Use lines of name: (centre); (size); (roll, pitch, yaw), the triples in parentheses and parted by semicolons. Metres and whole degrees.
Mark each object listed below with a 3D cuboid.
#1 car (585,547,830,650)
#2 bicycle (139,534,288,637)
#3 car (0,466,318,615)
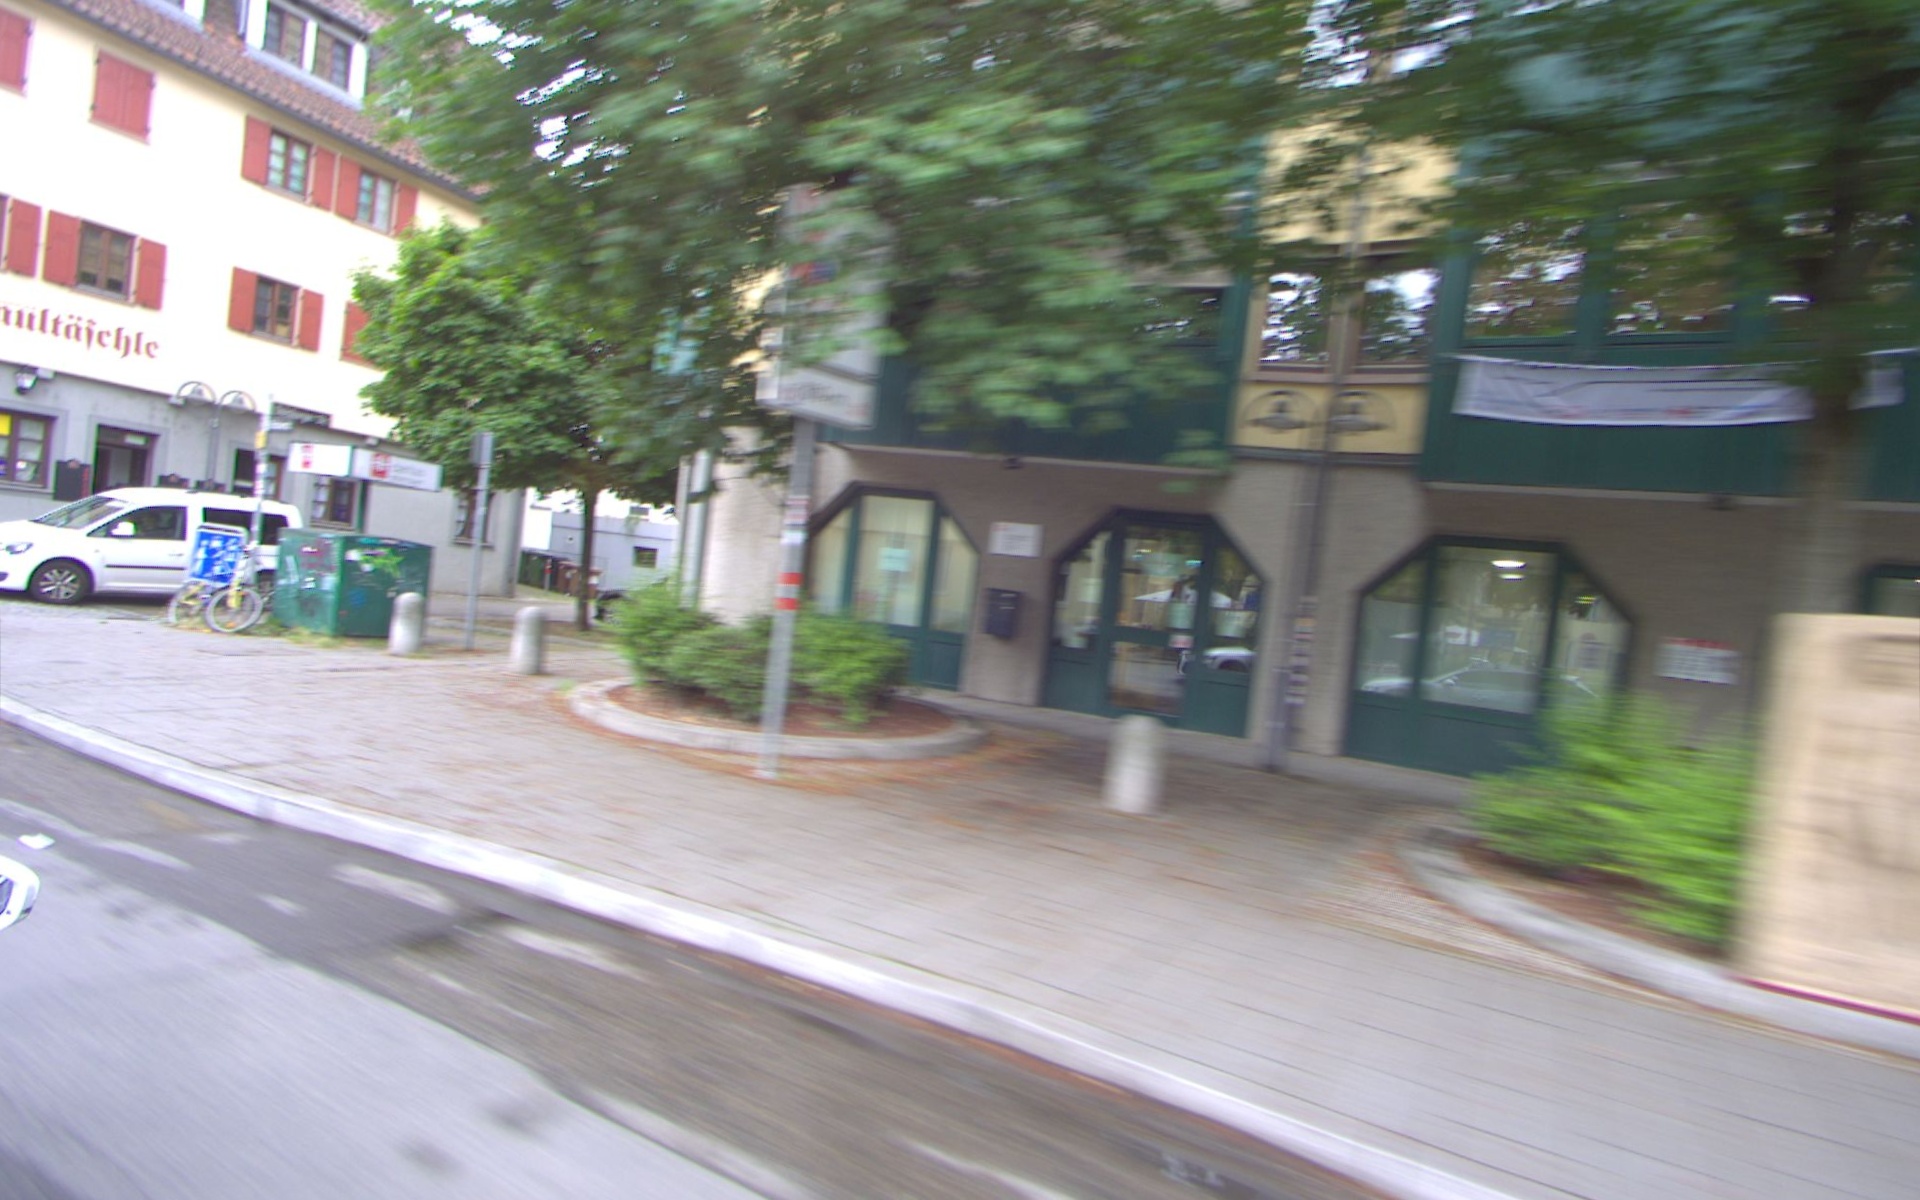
car: (-5.196, -0.030, 20.743); (4.511, 1.642, 1.848); (6, 0, 20)
bicycle: (-9.307, -0.183, 12.551); (1.607, 1.121, 0.501); (6, 1, 12)
car: (-12.678, -0.868, 15.525); (1.815, 1.820, 4.251); (8, 1, 25)
